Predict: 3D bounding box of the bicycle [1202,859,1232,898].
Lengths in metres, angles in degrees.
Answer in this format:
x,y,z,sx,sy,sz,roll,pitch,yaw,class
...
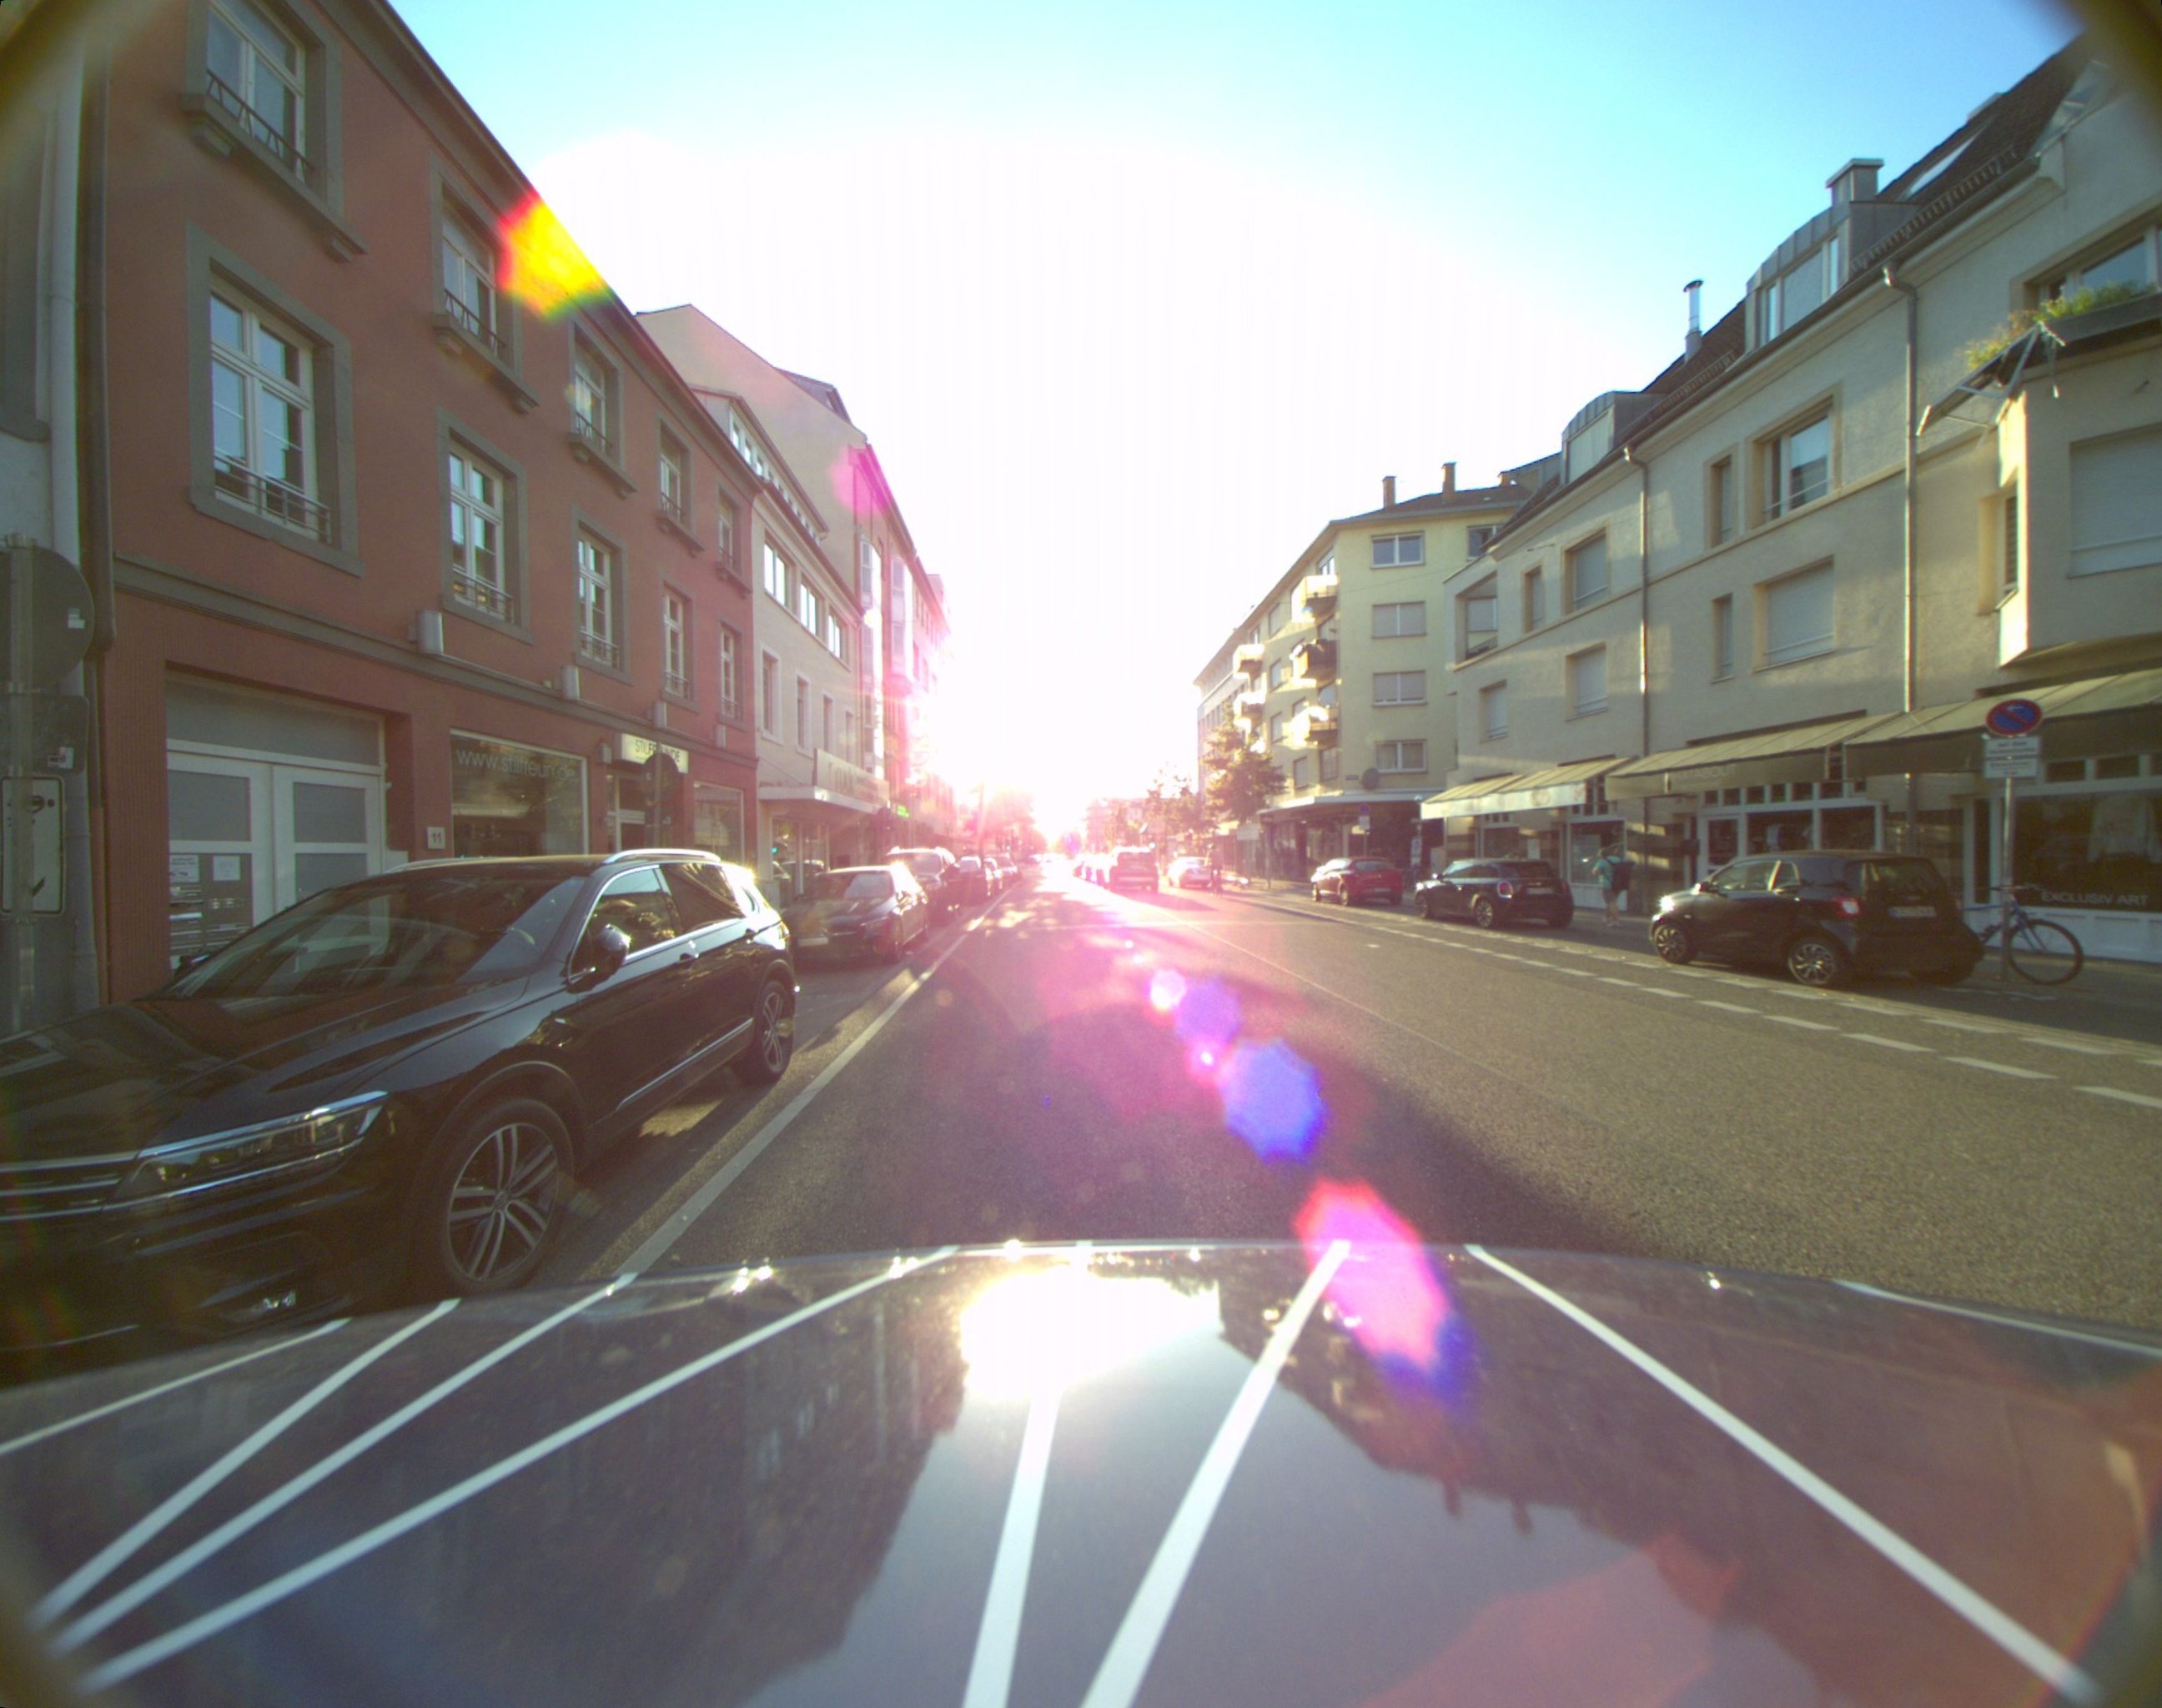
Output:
x,y,z,sx,sy,sz,roll,pitch,yaw,class
4.666,0.817,26.246,0.665,1.235,2.130,1,1,1,bicycle

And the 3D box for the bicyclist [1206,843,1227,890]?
x,y,z,sx,sy,sz,roll,pitch,yaw,class
4.633,0.434,25.964,0.548,1.571,0.803,-1,1,1,bicyclist

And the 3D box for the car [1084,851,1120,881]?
x,y,z,sx,sy,sz,roll,pitch,yaw,class
1.185,0.652,44.079,1.843,1.639,4.299,1,1,-1,car

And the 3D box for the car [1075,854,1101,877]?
x,y,z,sx,sy,sz,roll,pitch,yaw,class
0.461,0.768,52.651,1.503,1.426,4.026,1,1,-3,car

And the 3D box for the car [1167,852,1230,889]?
x,y,z,sx,sy,sz,roll,pitch,yaw,class
5.314,0.694,35.082,1.999,1.595,4.403,0,0,-3,car

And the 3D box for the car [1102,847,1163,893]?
x,y,z,sx,sy,sz,roll,pitch,yaw,class
1.958,0.556,29.997,1.843,1.639,4.298,1,1,-3,car

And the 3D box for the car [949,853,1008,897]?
x,y,z,sx,sy,sz,roll,pitch,yaw,class
-4.147,0.789,31.369,1.999,1.645,4.478,-1,1,-3,car

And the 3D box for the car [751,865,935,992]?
x,y,z,sx,sy,sz,roll,pitch,yaw,class
-3.574,1.024,12.276,1.689,1.479,4.409,-3,1,-3,car

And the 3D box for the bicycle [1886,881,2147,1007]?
x,y,z,sx,sy,sz,roll,pitch,yaw,class
10.582,0.952,8.736,0.560,1.199,1.977,0,1,0,bicycle

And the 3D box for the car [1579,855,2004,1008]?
x,y,z,sx,sy,sz,roll,pitch,yaw,class
8.939,0.828,10.130,1.794,1.571,3.965,-1,1,-4,car

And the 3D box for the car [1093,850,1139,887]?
x,y,z,sx,sy,sz,roll,pitch,yaw,class
1.621,0.663,36.972,1.843,1.639,4.299,1,1,-2,car

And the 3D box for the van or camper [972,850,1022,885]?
x,y,z,sx,sy,sz,roll,pitch,yaw,class
-4.583,0.668,41.046,1.795,1.763,4.550,-1,1,-18,van or camper

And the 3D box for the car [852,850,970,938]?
x,y,z,sx,sy,sz,roll,pitch,yaw,class
-3.969,0.830,18.702,1.999,1.767,5.316,-2,1,-4,car

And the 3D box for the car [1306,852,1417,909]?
x,y,z,sx,sy,sz,roll,pitch,yaw,class
8.473,0.738,23.305,1.794,1.571,3.785,-1,1,-4,car

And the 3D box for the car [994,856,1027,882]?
x,y,z,sx,sy,sz,roll,pitch,yaw,class
-4.292,0.900,46.531,1.694,1.494,3.786,0,1,-1,car

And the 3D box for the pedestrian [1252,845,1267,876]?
x,y,z,sx,sy,sz,roll,pitch,yaw,class
10.528,0.375,44.878,0.720,1.781,0.666,-1,1,-1,pedestrian

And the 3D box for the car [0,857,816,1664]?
x,y,z,sx,sy,sz,roll,pitch,yaw,class
-2.970,0.928,3.840,1.799,1.688,4.458,-3,1,-3,car

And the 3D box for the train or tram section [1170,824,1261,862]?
x,y,z,sx,sy,sz,roll,pitch,yaw,class
15.150,-1.254,84.938,10.456,3.788,3.139,-3,1,-32,train or tram section

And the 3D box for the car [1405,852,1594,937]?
x,y,z,sx,sy,sz,roll,pitch,yaw,class
8.812,0.768,16.405,1.794,1.571,3.785,-1,1,-4,car

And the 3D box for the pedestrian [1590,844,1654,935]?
x,y,z,sx,sy,sz,roll,pitch,yaw,class
10.520,0.673,14.796,0.720,1.724,0.738,-1,1,-2,pedestrian

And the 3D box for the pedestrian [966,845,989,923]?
x,y,z,sx,sy,sz,roll,pitch,yaw,class
-2.509,0.718,18.400,0.485,1.847,0.539,-1,1,-10,pedestrian

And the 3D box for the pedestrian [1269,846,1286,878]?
x,y,z,sx,sy,sz,roll,pitch,yaw,class
11.045,0.425,42.772,0.720,1.781,0.666,-1,1,-1,pedestrian

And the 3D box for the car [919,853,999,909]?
x,y,z,sx,sy,sz,roll,pitch,yaw,class
-3.995,0.827,25.607,1.999,1.645,4.626,-2,1,-1,car

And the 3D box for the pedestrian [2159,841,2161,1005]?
x,y,z,sx,sy,sz,roll,pitch,yaw,class
11.527,0.713,7.381,0.632,1.690,1.040,-1,1,-3,pedestrian
